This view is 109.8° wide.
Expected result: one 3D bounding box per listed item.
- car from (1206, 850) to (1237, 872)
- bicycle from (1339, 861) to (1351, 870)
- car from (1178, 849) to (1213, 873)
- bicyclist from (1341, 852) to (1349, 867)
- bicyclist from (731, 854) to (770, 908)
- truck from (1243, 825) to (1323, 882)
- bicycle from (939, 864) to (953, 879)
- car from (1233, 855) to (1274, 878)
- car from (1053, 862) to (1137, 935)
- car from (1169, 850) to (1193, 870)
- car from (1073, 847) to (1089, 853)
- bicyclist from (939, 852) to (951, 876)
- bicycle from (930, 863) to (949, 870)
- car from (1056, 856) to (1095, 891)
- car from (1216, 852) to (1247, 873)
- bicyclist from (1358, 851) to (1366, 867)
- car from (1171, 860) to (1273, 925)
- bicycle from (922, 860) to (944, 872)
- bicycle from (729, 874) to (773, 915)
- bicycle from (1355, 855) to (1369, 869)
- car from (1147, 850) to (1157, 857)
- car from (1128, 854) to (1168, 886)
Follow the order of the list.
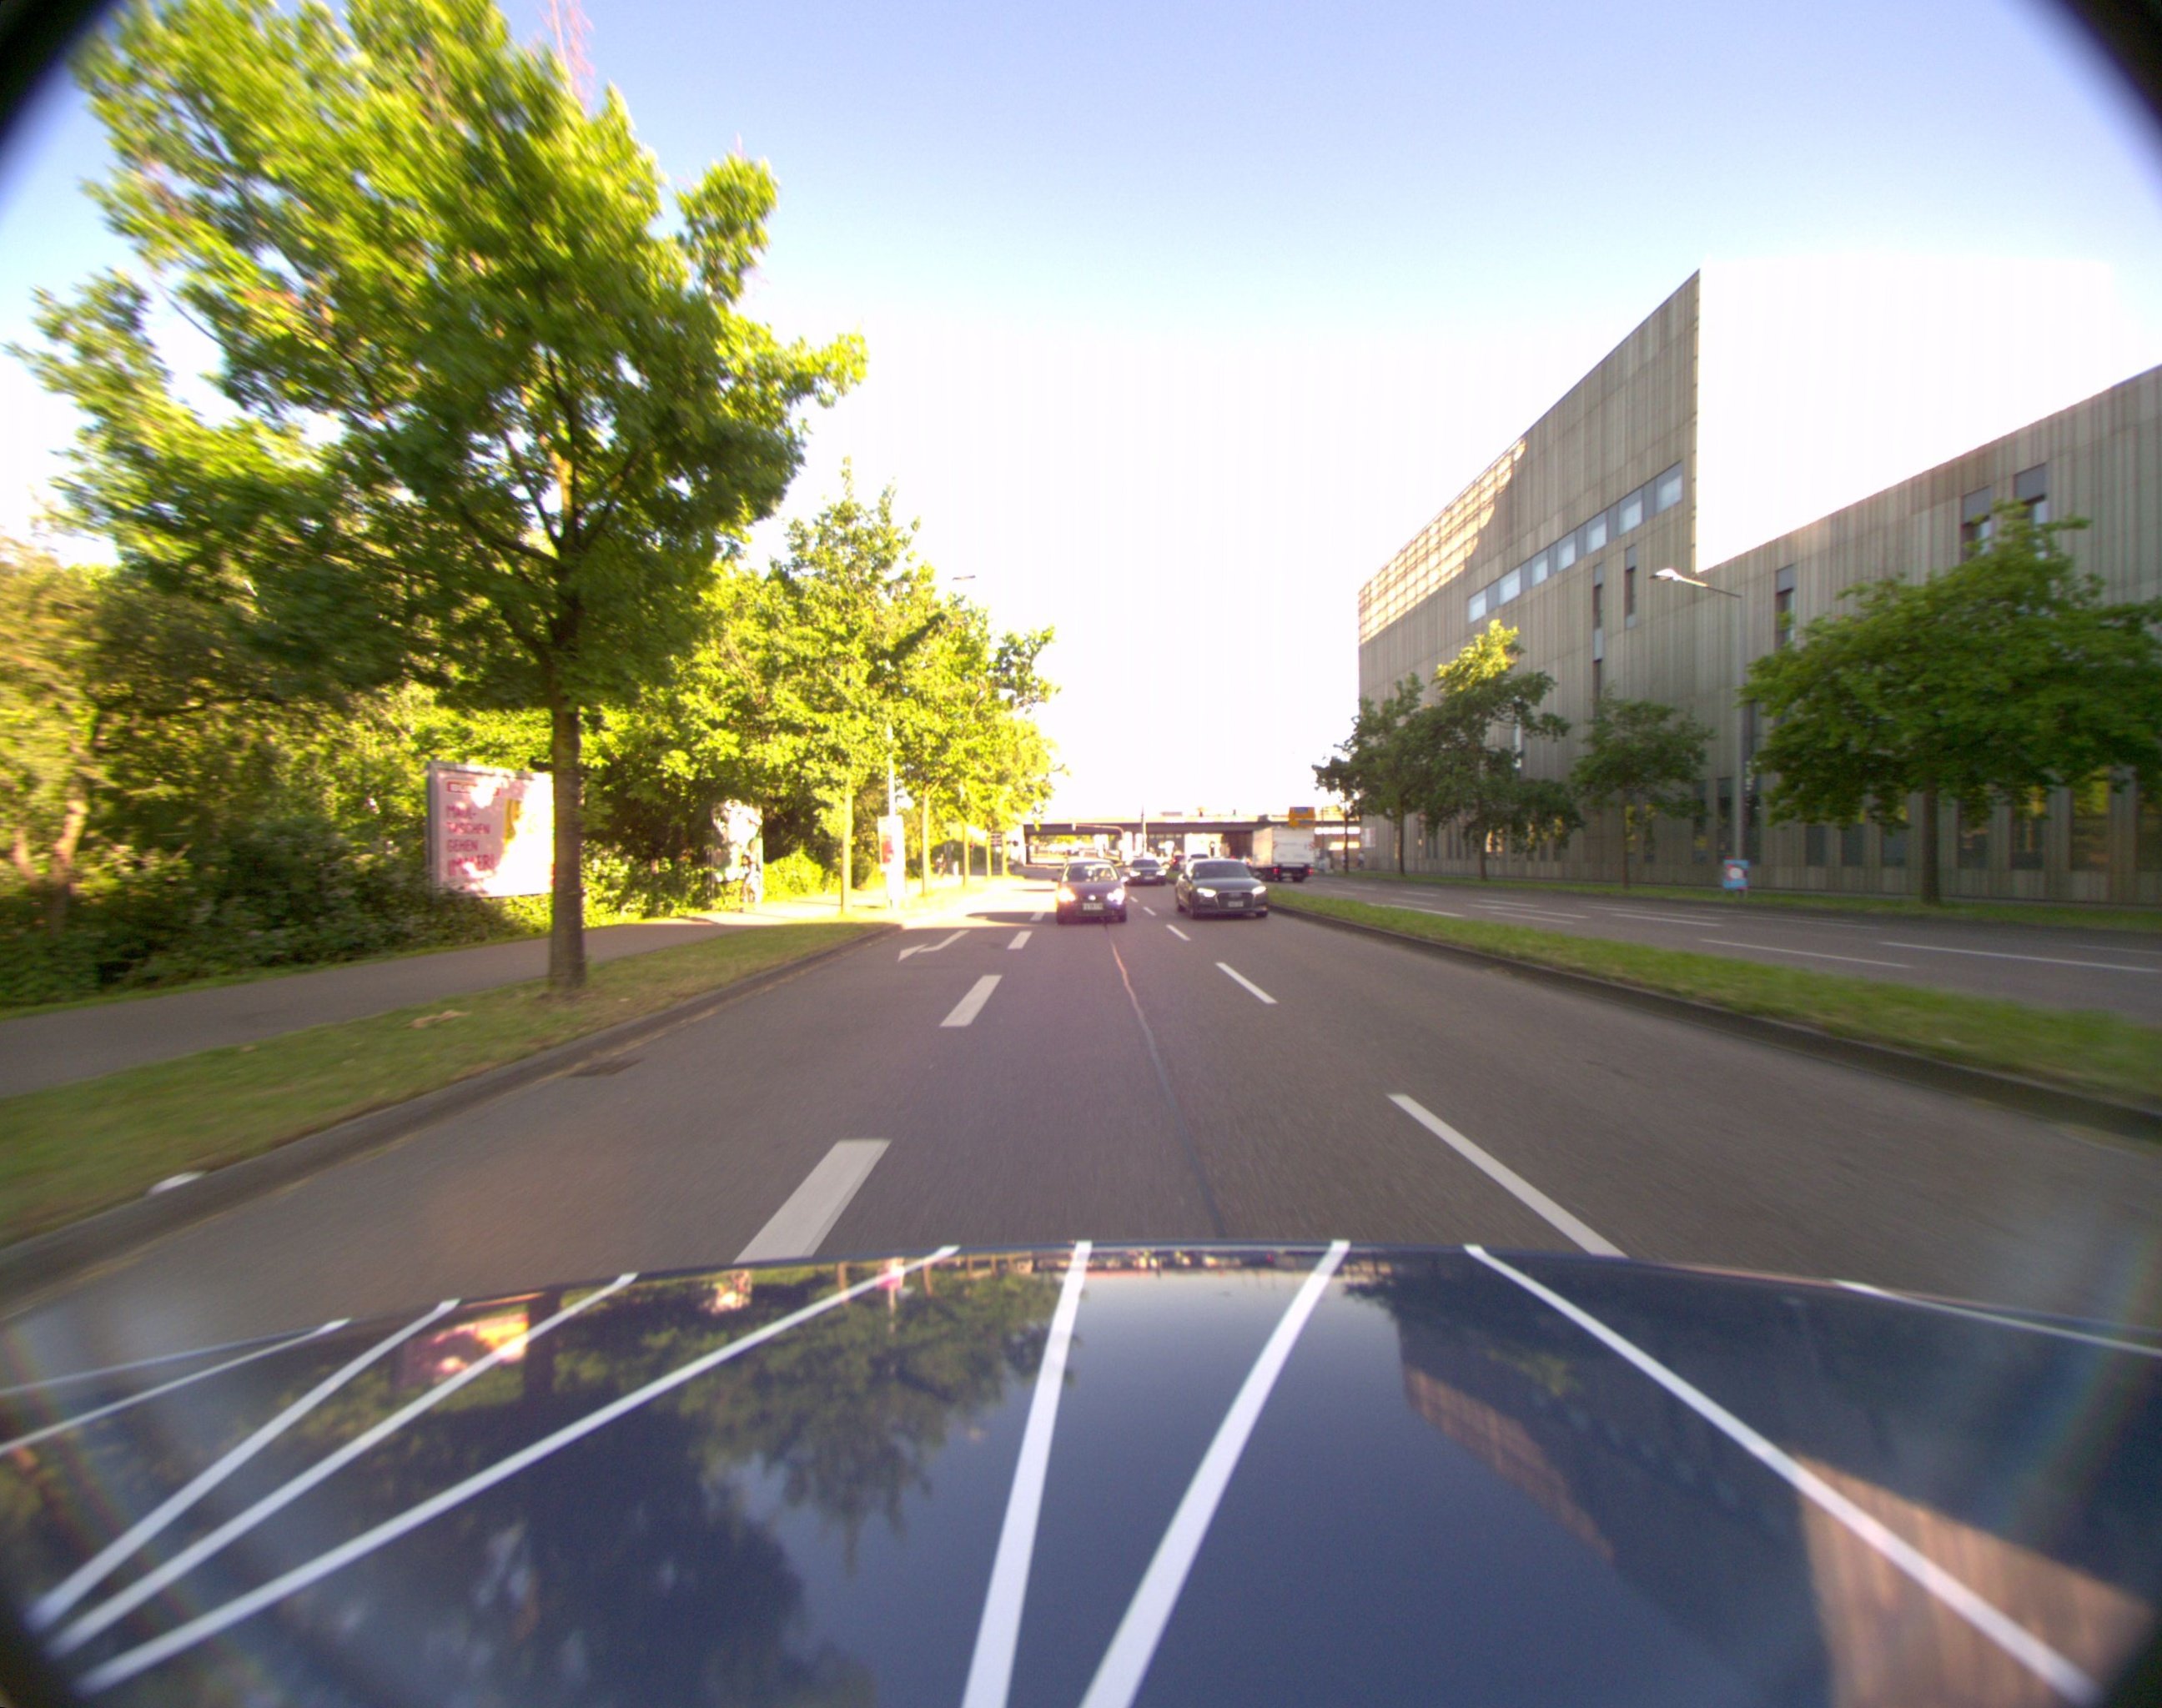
[{"bbox_3d":[11.614,0.553,63.168,1.846,1.646,3.999,1,1,0],"label":"car"},{"bbox_3d":[24.802,1.069,71.494,0.513,0.885,1.754,0,0,-1],"label":"bicycle"},{"bbox_3d":[8.347,0.467,55.850,1.828,1.672,4.658,1,0,0],"label":"car"},{"bbox_3d":[24.801,0.504,71.418,0.509,1.434,0.753,0,0,-1],"label":"bicyclist"},{"bbox_3d":[-9.494,0.763,21.858,0.687,1.513,1.035,-1,1,-3],"label":"bicyclist"},{"bbox_3d":[11.335,-0.042,43.366,2.693,2.943,7.114,1,0,1],"label":"truck"},{"bbox_3d":[-8.983,1.148,50.457,0.573,0.986,2.046,-1,0,0],"label":"bicycle"},{"bbox_3d":[11.434,0.818,50.595,1.840,1.415,4.000,1,0,0],"label":"car"},{"bbox_3d":[0.281,0.940,17.854,1.702,1.474,4.052,-2,-1,0],"label":"car"},{"bbox_3d":[8.319,0.497,63.630,1.605,1.571,3.212,1,0,1],"label":"car"},{"bbox_3d":[-0.072,-0.989,191.347,1.993,1.433,4.869,0,0,-27],"label":"car"},{"bbox_3d":[-9.000,0.642,50.288,0.566,1.600,0.865,-1,1,-1],"label":"bicyclist"},{"bbox_3d":[-12.872,1.117,69.104,0.844,0.618,2.190,1,-1,-34],"label":"bicycle"},{"bbox_3d":[-0.244,0.863,35.659,1.702,1.478,3.946,-1,0,0],"label":"car"},{"bbox_3d":[11.378,0.634,57.779,1.624,1.461,3.640,1,0,0],"label":"car"},{"bbox_3d":[26.009,0.489,70.327,0.508,1.498,0.645,0,0,-1],"label":"bicyclist"},{"bbox_3d":[3.414,0.880,19.176,1.702,1.396,4.364,-1,0,0],"label":"car"},{"bbox_3d":[-13.778,1.133,70.891,1.993,1.046,0.455,-1,1,12],"label":"bicycle"},{"bbox_3d":[-9.489,1.141,21.914,0.517,1.066,1.935,-1,0,-3],"label":"bicycle"},{"bbox_3d":[26.012,0.711,70.428,0.513,1.262,2.099,0,0,-1],"label":"bicycle"},{"bbox_3d":[14.621,-0.119,156.324,1.707,1.433,4.880,1,0,0],"label":"car"},{"bbox_3d":[3.436,0.792,39.643,1.702,1.528,3.946,-1,0,0],"label":"car"}]
